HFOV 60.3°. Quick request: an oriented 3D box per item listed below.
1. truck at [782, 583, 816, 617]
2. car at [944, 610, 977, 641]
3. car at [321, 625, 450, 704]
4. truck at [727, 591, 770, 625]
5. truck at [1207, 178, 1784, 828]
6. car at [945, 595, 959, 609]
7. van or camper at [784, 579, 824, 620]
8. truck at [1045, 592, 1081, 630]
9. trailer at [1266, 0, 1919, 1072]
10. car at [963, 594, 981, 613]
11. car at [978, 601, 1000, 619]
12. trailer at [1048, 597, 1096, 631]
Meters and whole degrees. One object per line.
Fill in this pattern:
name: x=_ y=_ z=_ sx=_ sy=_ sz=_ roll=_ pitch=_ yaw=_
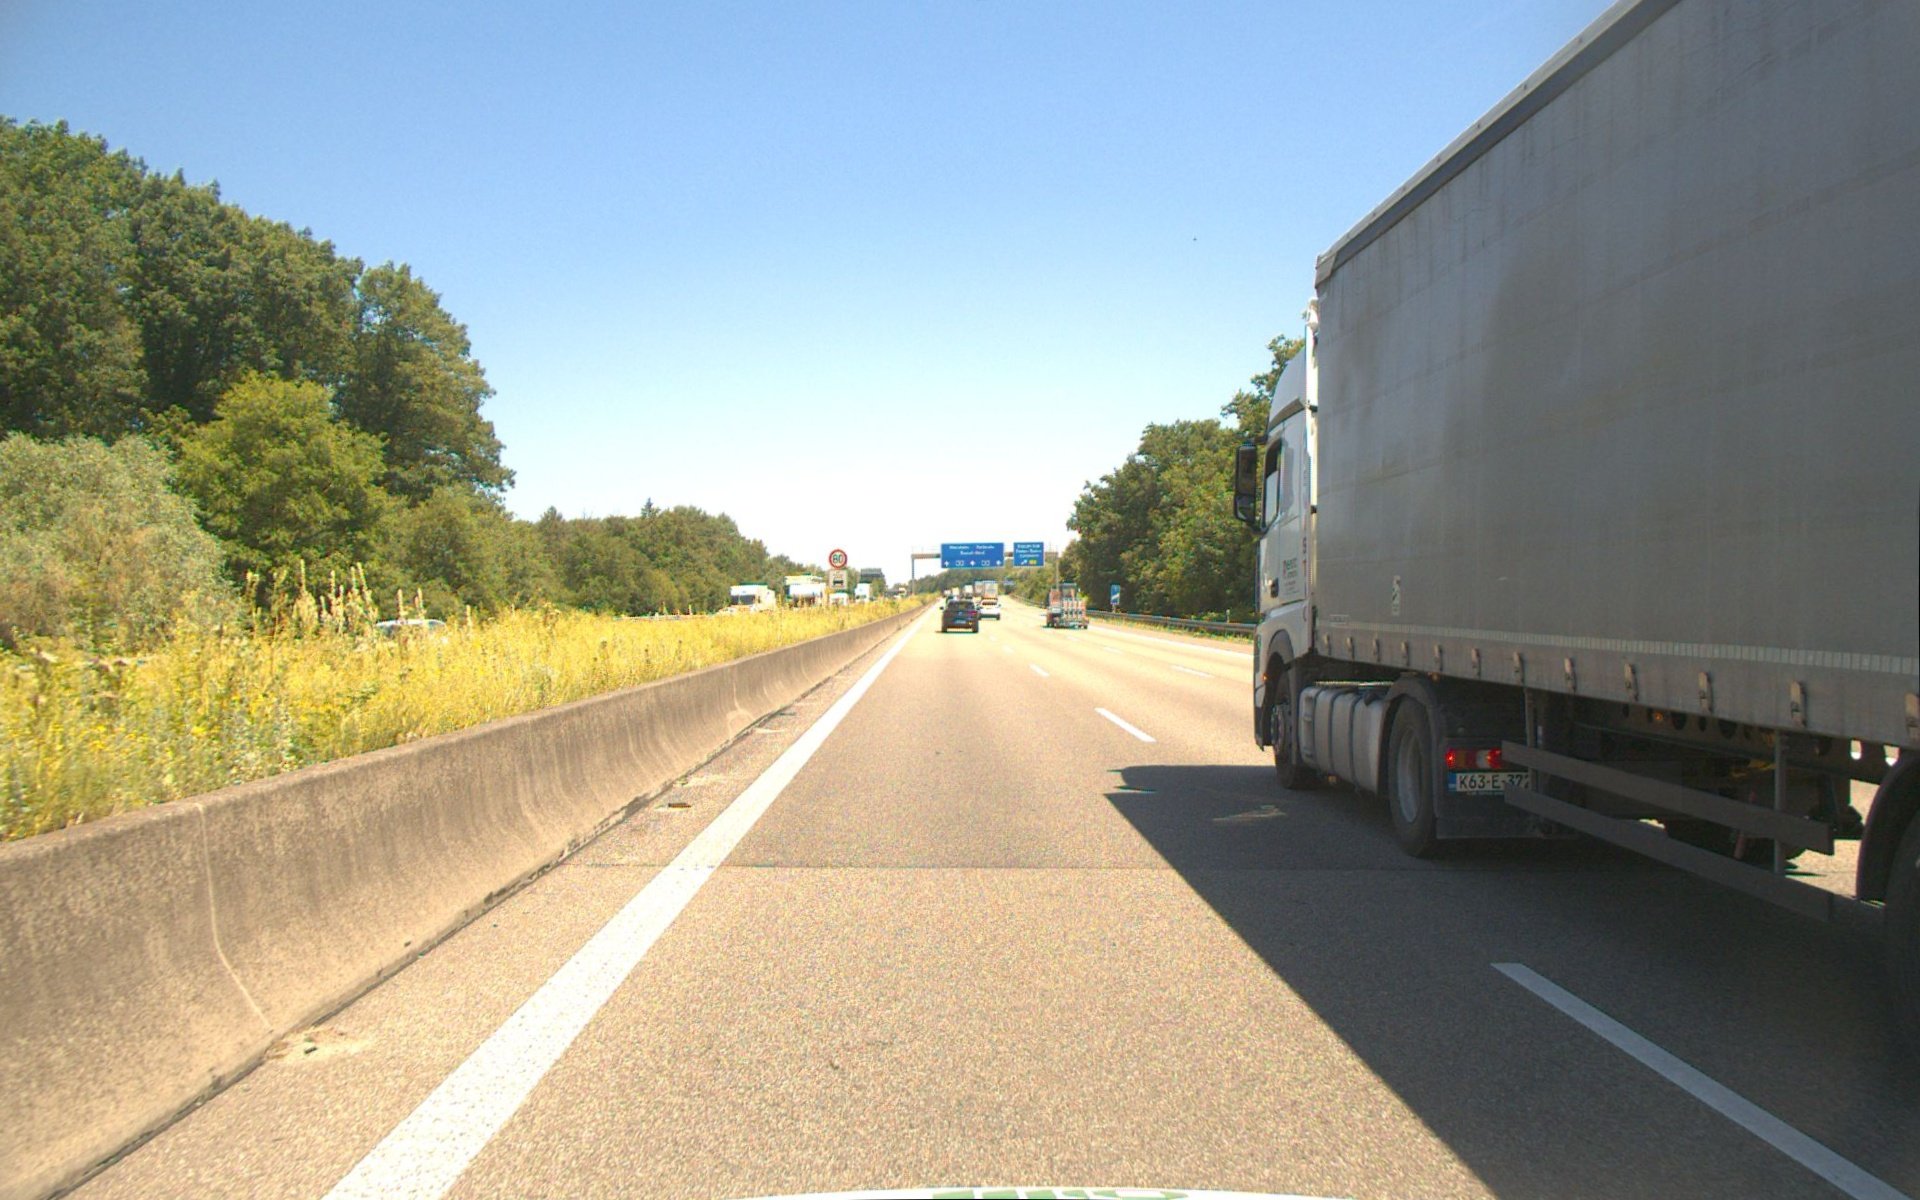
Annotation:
truck: x=-14.786 y=0.029 z=152.011 sx=2.554 sy=3.061 sz=6.970 roll=-1 pitch=0 yaw=-1
car: x=0.020 y=1.358 z=87.826 sx=1.627 sy=1.576 sz=3.781 roll=1 pitch=-1 yaw=-2
car: x=-13.234 y=1.439 z=38.323 sx=1.615 sy=1.673 sz=3.999 roll=-1 pitch=-1 yaw=-1
truck: x=-19.171 y=0.739 z=150.262 sx=2.632 sy=2.993 sz=10.484 roll=-1 pitch=0 yaw=-1
truck: x=3.927 y=-0.577 z=13.857 sx=2.645 sy=4.166 sz=6.451 roll=0 pitch=-1 yaw=-1
car: x=-1.195 y=0.336 z=246.339 sx=1.953 sy=2.049 sz=3.999 roll=-2 pitch=-1 yaw=-1
van or camper: x=-12.607 y=-0.057 z=134.377 sx=2.456 sy=3.210 sz=7.534 roll=1 pitch=0 yaw=0
truck: x=6.663 y=0.702 z=107.458 sx=1.953 sy=2.415 sz=4.643 roll=0 pitch=0 yaw=-2
trailer: x=4.052 y=-0.683 z=6.658 sx=2.653 sy=4.140 sz=14.741 roll=0 pitch=-1 yaw=-1
car: x=1.341 y=0.407 z=189.415 sx=1.953 sy=2.049 sz=3.999 roll=-1 pitch=0 yaw=-1
car: x=2.398 y=0.839 z=138.498 sx=1.704 sy=1.512 sz=3.999 roll=0 pitch=0 yaw=-1
trailer: x=6.895 y=0.830 z=102.116 sx=2.372 sy=2.049 sz=6.031 roll=0 pitch=0 yaw=-2
